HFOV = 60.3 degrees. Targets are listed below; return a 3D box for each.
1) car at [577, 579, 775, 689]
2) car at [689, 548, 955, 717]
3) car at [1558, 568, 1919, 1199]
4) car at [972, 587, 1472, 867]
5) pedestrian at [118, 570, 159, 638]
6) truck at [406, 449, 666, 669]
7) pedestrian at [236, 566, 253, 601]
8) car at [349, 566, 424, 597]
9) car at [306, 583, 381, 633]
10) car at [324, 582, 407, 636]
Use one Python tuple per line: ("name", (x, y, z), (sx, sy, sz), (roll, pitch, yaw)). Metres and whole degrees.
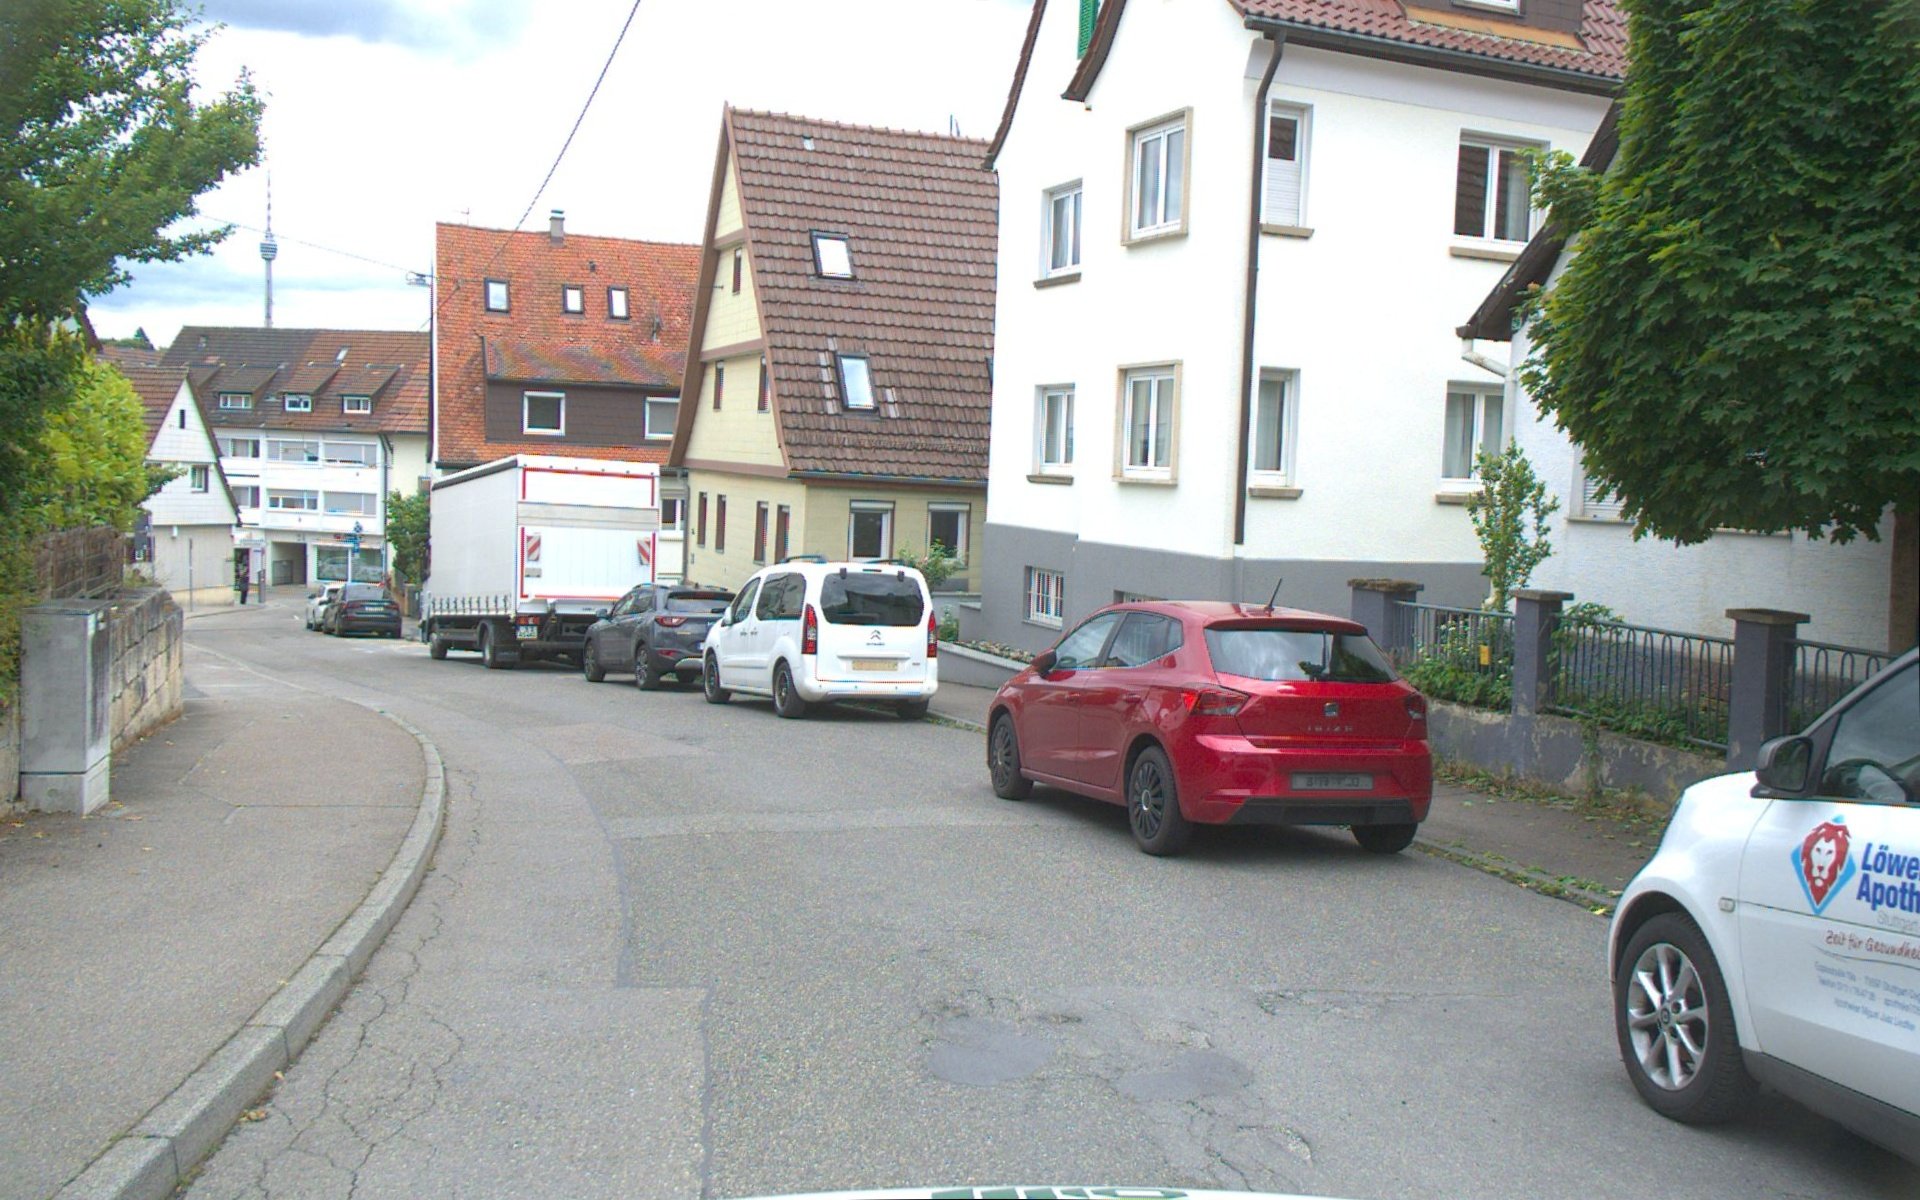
("car", (-4.400, 0.492, 25.144), (1.714, 1.532, 4.011), (2, -1, -29))
("car", (-1.823, 0.354, 20.363), (1.813, 1.846, 4.268), (2, 0, -26))
("car", (3.017, 0.757, 4.161), (1.582, 1.559, 2.891), (4, 0, -9))
("car", (1.487, 0.683, 10.847), (1.653, 1.477, 3.832), (2, 0, -18))
("pedestrian", (-21.273, 0.110, 42.811), (0.831, 1.707, 0.967), (2, -1, -30))
("truck", (-8.324, -0.717, 31.616), (2.649, 3.660, 8.021), (1, 0, -31))
("pedestrian", (-35.679, -0.802, 82.478), (0.642, 1.714, 0.596), (0, 2, -37))
("car", (-32.091, -1.051, 92.566), (3.605, 1.583, 1.698), (2, 2, 17))
("car", (-19.504, 0.224, 52.217), (1.773, 1.471, 4.262), (2, 0, -26))
("car", (-17.077, 0.229, 47.407), (1.655, 1.433, 4.014), (2, -1, -28))
